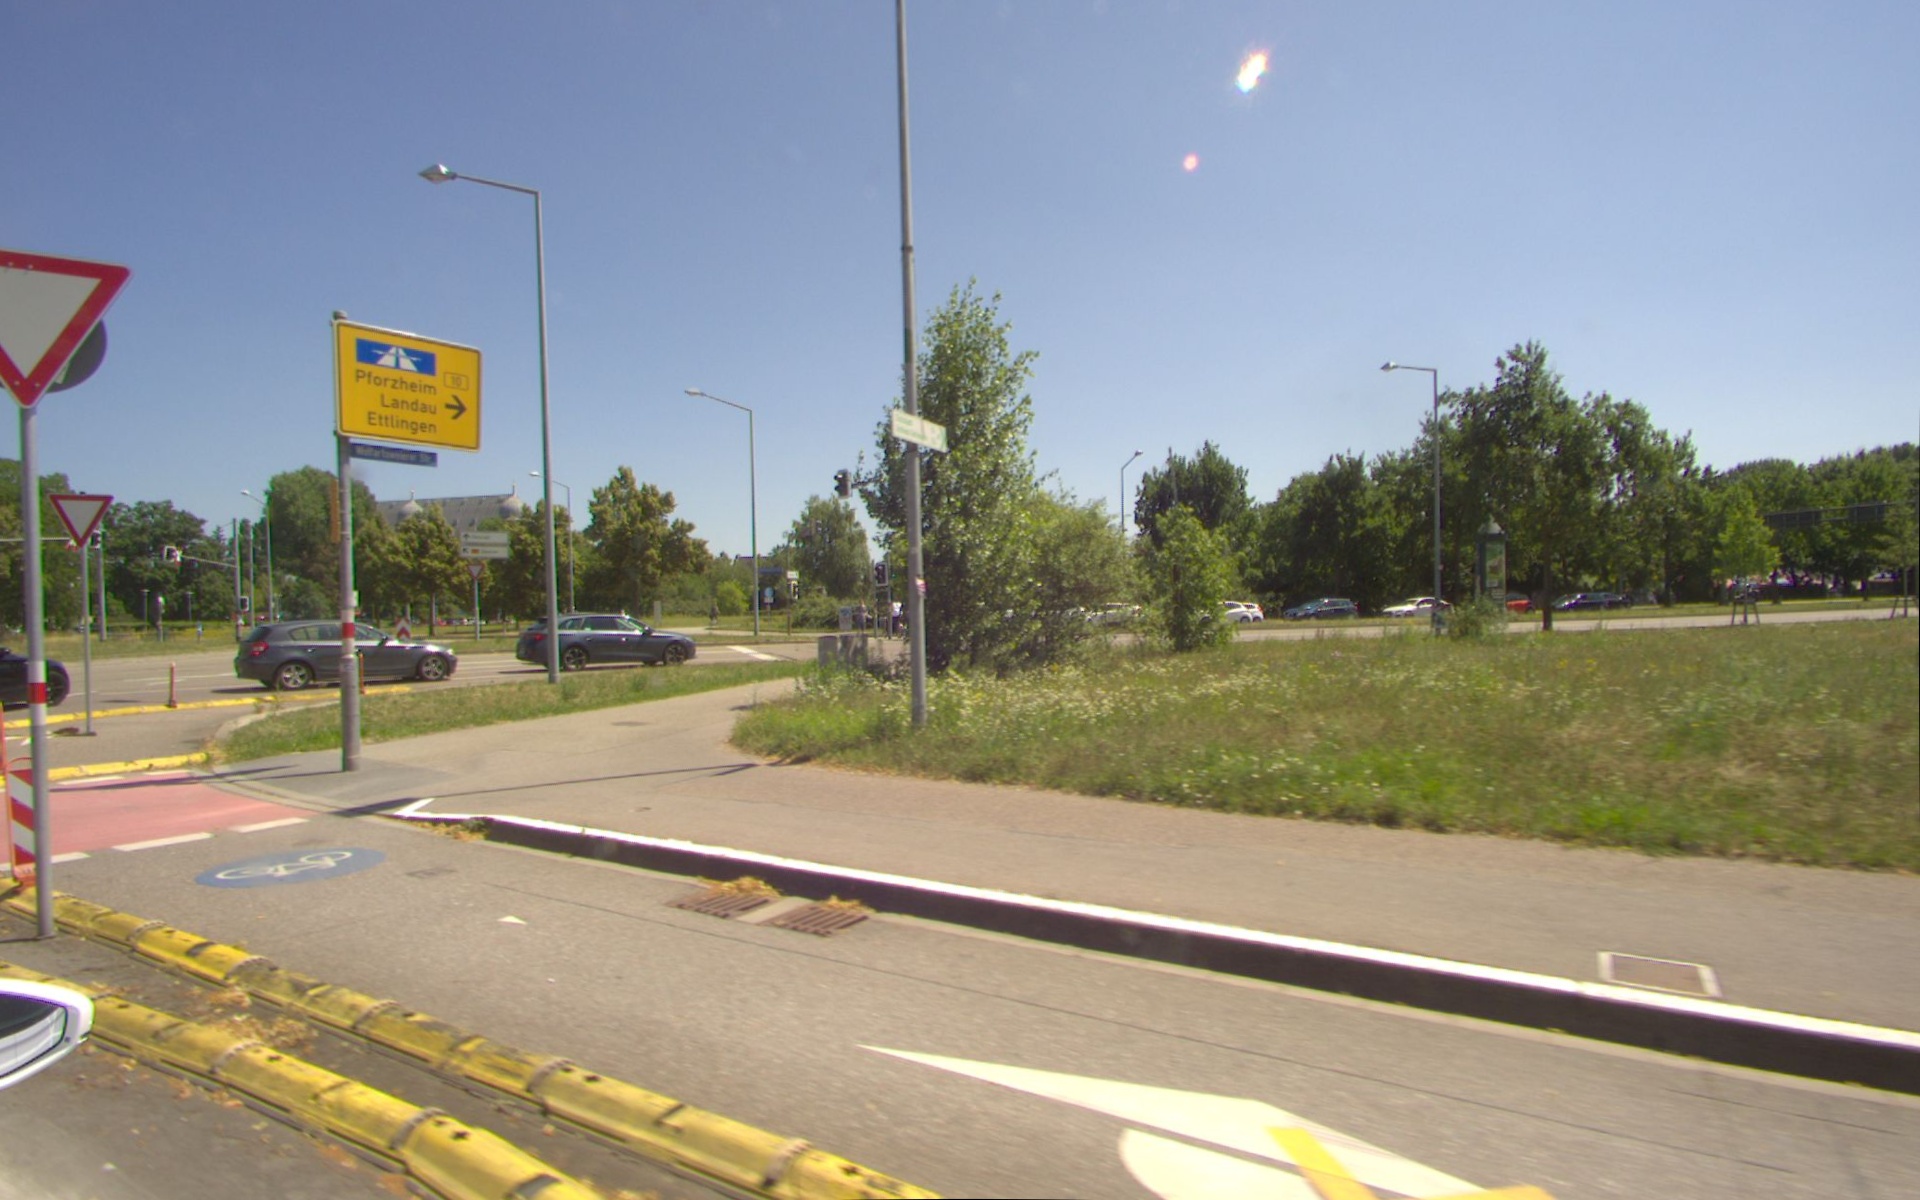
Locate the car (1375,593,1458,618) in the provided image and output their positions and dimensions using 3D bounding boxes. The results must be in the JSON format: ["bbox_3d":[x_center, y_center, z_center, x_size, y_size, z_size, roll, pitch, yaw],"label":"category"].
[{"bbox_3d":[27.081,0.318,59.444,4.328,1.441,1.862,-1,0,-15],"label":"car"}]

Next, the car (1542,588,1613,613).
[{"bbox_3d":[38.490,0.061,62.470,3.730,1.494,1.718,0,-1,-17],"label":"car"}]

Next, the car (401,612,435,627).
[{"bbox_3d":[-75.373,2.699,139.337,3.931,2.039,1.996,0,-1,-19],"label":"car"}]

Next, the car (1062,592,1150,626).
[{"bbox_3d":[7.861,0.465,53.954,4.328,1.705,1.861,-1,0,-15],"label":"car"}]

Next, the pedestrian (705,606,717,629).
[{"bbox_3d":[-18.704,1.308,75.236,0.564,1.753,0.674,-1,-1,16],"label":"pedestrian"}]

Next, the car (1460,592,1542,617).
[{"bbox_3d":[33.155,0.282,61.381,4.328,1.441,1.862,-1,0,-15],"label":"car"}]

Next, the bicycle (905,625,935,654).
[{"bbox_3d":[-1.334,1.268,32.803,0.617,0.890,1.874,-1,-1,-14],"label":"bicycle"}]

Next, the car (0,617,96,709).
[{"bbox_3d":[-16.414,1.036,15.982,1.768,1.459,3.999,0,0,0],"label":"car"}]

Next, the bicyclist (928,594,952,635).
[{"bbox_3d":[-0.814,0.585,40.229,0.941,1.630,1.186,-1,-1,-2],"label":"bicyclist"}]

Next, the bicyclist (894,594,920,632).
[{"bbox_3d":[-2.225,0.543,41.933,0.941,1.552,1.185,-1,1,4],"label":"bicyclist"}]

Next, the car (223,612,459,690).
[{"bbox_3d":[-13.311,1.029,21.707,1.734,1.422,4.044,0,1,43],"label":"car"}]

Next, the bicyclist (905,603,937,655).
[{"bbox_3d":[-1.281,0.930,32.725,0.735,1.662,1.161,-1,1,-16],"label":"bicyclist"}]

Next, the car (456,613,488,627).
[{"bbox_3d":[-72.152,2.922,148.069,3.925,2.039,1.999,0,-1,-11],"label":"car"}]

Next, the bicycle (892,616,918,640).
[{"bbox_3d":[-2.302,1.158,41.968,0.881,0.912,1.761,1,1,4],"label":"bicycle"}]

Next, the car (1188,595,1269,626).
[{"bbox_3d":[15.973,0.622,59.593,4.328,1.705,1.861,-1,0,-15],"label":"car"}]

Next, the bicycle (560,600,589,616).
[{"bbox_3d":[-27.274,0.567,70.847,2.024,1.129,0.728,-1,-1,22],"label":"bicycle"}]

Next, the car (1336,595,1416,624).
[{"bbox_3d":[25.906,0.576,62.379,4.328,1.705,1.861,-1,0,-15],"label":"car"}]

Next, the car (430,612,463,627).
[{"bbox_3d":[-73.260,2.778,142.816,3.931,2.039,1.996,0,-1,-19],"label":"car"}]

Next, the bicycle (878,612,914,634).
[{"bbox_3d":[-2.920,1.056,45.467,0.728,0.924,2.921,0,-2,-22],"label":"bicycle"}]

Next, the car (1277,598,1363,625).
[{"bbox_3d":[20.654,0.638,57.492,4.328,1.441,1.862,-1,0,-15],"label":"car"}]

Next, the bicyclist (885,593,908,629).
[{"bbox_3d":[-2.891,0.510,45.363,0.744,1.634,0.975,0,-1,-23],"label":"bicyclist"}]

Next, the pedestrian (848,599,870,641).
[{"bbox_3d":[-4.080,0.814,40.389,0.743,1.658,0.955,-1,-1,-15],"label":"pedestrian"}]

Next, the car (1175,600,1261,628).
[{"bbox_3d":[14.362,0.761,55.832,4.328,1.441,1.862,-1,0,-15],"label":"car"}]

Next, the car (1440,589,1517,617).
[{"bbox_3d":[33.478,0.203,64.635,4.328,1.705,1.861,-1,0,-15],"label":"car"}]

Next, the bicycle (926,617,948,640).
[{"bbox_3d":[-0.931,1.146,40.218,0.881,0.912,2.227,0,-1,-2],"label":"bicycle"}]

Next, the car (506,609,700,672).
[{"bbox_3d":[-9.337,0.992,26.390,4.404,1.437,1.983,-1,0,-40],"label":"car"}]

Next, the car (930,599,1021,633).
[{"bbox_3d":[0.786,0.811,51.584,4.328,1.639,1.861,-1,0,-15],"label":"car"}]

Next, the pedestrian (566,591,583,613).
[{"bbox_3d":[-27.270,0.145,70.815,0.804,1.469,0.708,-1,-1,22],"label":"pedestrian"}]
